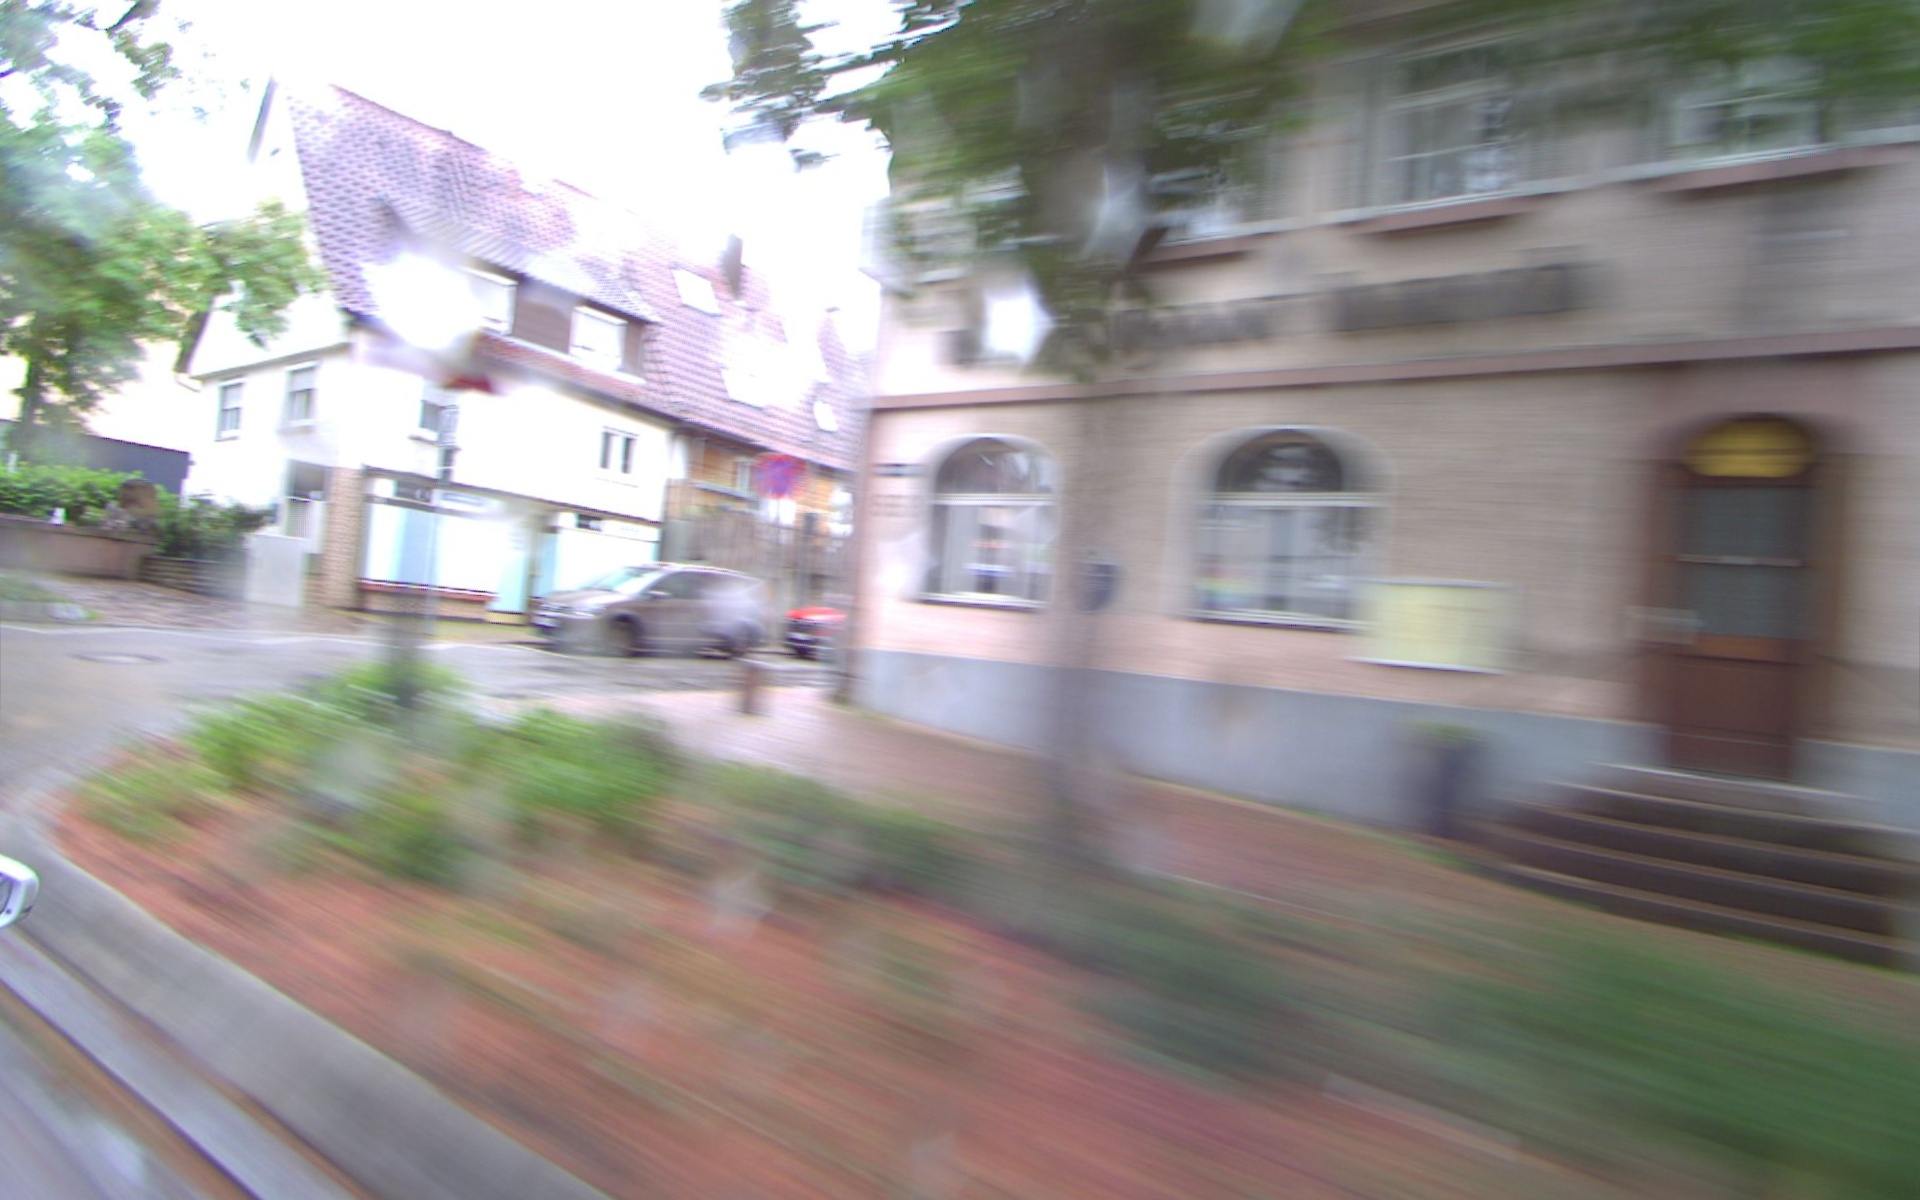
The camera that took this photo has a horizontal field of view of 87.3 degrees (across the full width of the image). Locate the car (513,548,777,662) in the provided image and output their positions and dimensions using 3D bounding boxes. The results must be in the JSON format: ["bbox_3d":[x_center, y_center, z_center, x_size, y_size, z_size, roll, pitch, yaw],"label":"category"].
[{"bbox_3d":[-5.530,0.158,18.126,1.812,1.603,4.180,7,0,37],"label":"car"}]

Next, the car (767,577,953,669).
[{"bbox_3d":[-2.129,0.568,22.520,1.678,1.641,4.181,7,0,36],"label":"car"}]
